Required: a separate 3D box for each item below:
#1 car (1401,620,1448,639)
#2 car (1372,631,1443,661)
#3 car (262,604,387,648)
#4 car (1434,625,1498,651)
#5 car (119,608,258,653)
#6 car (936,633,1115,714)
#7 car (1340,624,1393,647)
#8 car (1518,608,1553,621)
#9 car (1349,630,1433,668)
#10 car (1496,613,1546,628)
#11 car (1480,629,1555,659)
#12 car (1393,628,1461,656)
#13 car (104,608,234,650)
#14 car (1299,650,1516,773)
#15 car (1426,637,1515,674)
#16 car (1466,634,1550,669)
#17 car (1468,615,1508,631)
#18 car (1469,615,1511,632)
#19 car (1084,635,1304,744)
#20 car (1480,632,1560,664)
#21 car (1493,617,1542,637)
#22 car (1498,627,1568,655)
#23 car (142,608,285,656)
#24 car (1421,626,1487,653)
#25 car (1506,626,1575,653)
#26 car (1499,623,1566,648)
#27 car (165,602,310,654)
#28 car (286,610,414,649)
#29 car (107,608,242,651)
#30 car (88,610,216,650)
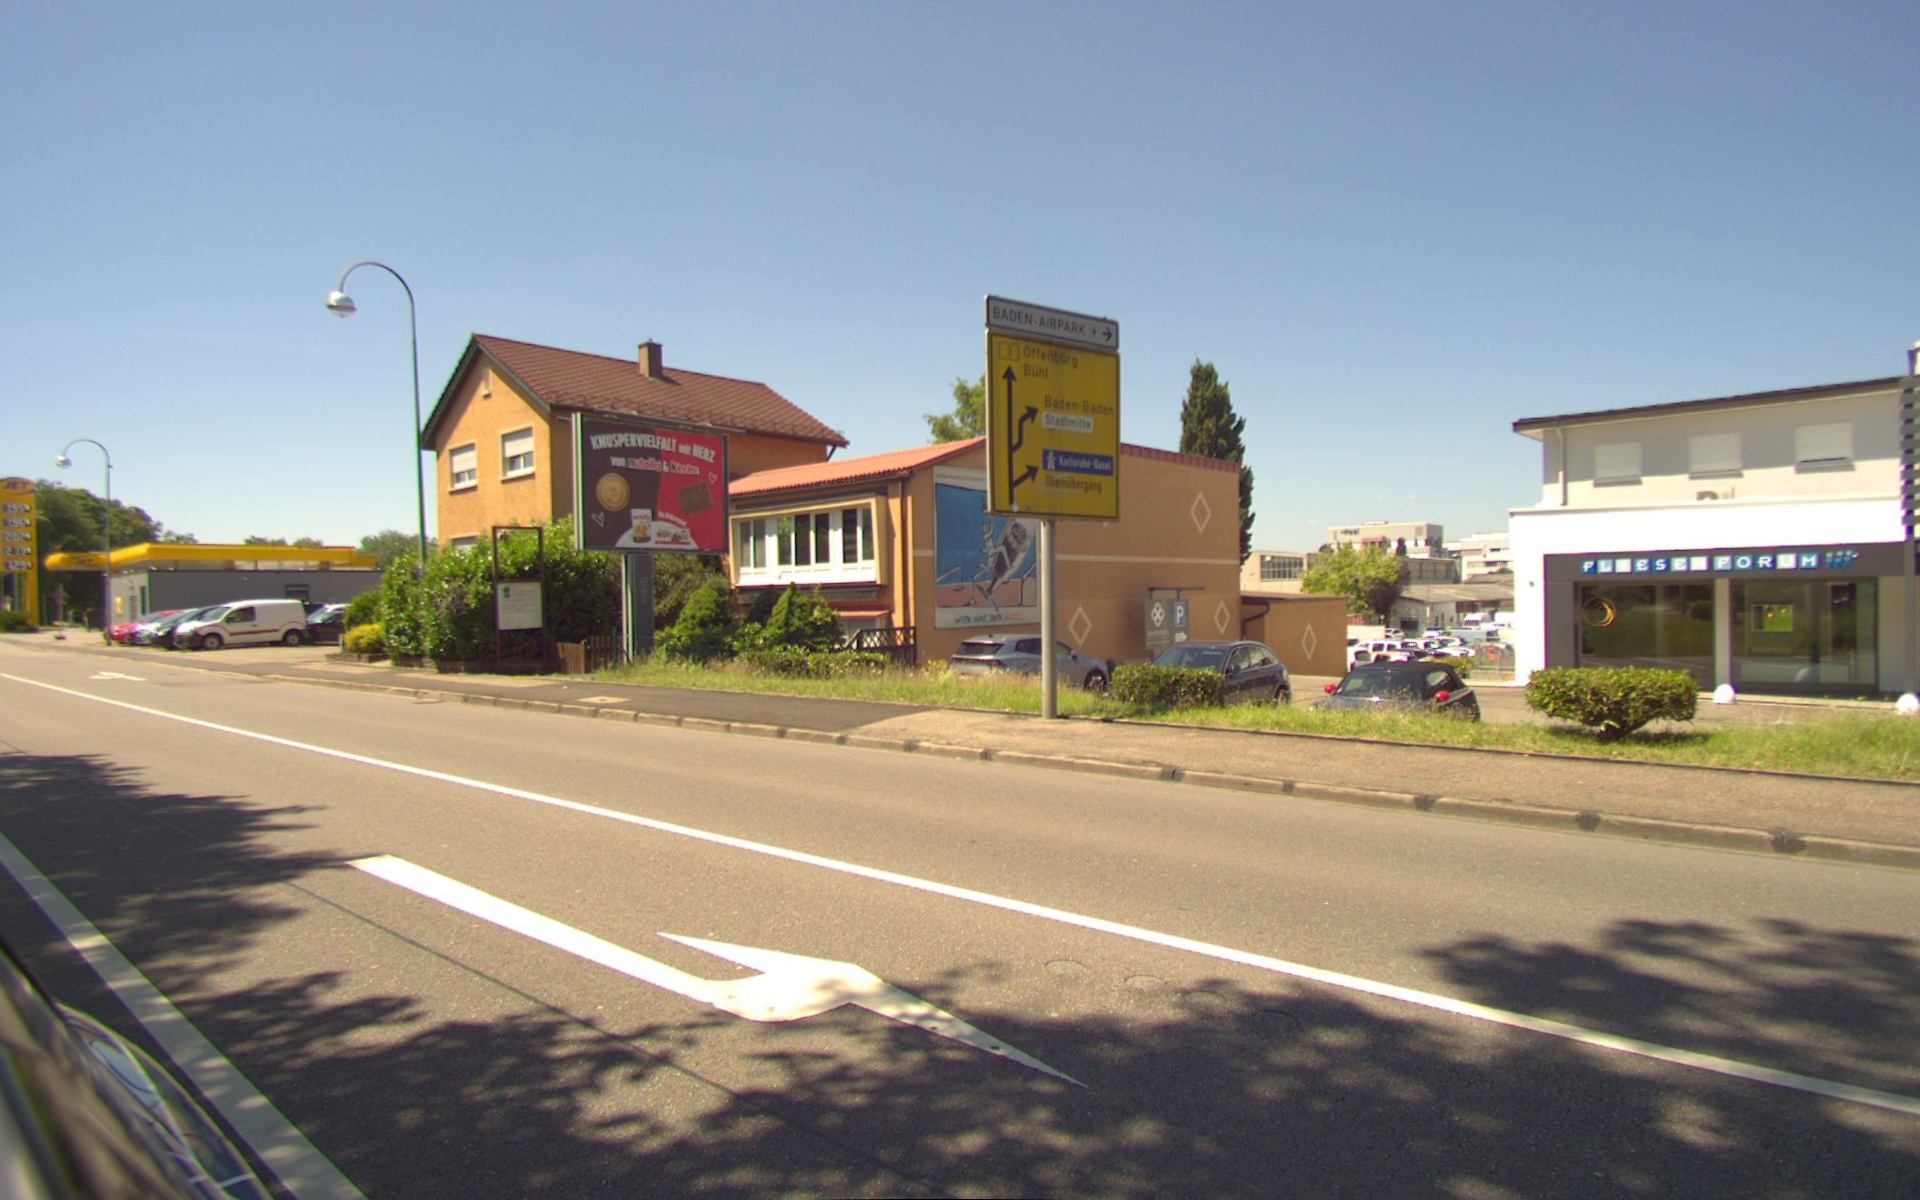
[{"bbox_3d":[44.704,2.809,97.512,3.774,1.768,1.707,-1,0,44],"label":"car"},{"bbox_3d":[28.299,2.887,64.041,3.774,1.768,1.707,-1,-1,44],"label":"car"},{"bbox_3d":[-28.008,1.126,44.730,1.871,1.839,4.351,-1,-1,35],"label":"car"},{"bbox_3d":[36.431,2.729,72.914,3.774,1.768,1.707,-1,-1,44],"label":"car"},{"bbox_3d":[-32.655,1.254,42.966,1.871,1.773,4.351,-1,-1,35],"label":"car"},{"bbox_3d":[1.591,1.642,23.632,4.165,1.621,1.773,0,-1,-42],"label":"car"},{"bbox_3d":[33.977,2.944,84.573,3.774,1.768,1.707,-1,-1,44],"label":"car"},{"bbox_3d":[77.196,1.959,135.651,3.774,1.768,1.707,-1,-1,44],"label":"car"},{"bbox_3d":[24.560,2.752,57.757,4.001,2.029,1.971,-1,-1,44],"label":"car"},{"bbox_3d":[71.796,2.633,129.633,5.303,1.768,2.037,-1,-1,44],"label":"car"},{"bbox_3d":[34.998,2.751,63.573,3.774,1.768,1.707,-1,-1,44],"label":"car"},{"bbox_3d":[31.107,2.782,67.427,3.774,1.768,1.707,-1,-1,44],"label":"car"},{"bbox_3d":[-35.837,1.271,45.952,1.871,1.773,4.351,-1,-1,35],"label":"car"},{"bbox_3d":[7.231,1.656,16.179,4.039,1.544,1.772,0,-1,-44],"label":"car"},{"bbox_3d":[26.502,2.867,52.582,3.774,1.768,1.707,-1,-1,44],"label":"car"},{"bbox_3d":[30.284,2.817,56.011,3.774,1.768,1.707,-1,-1,44],"label":"car"},{"bbox_3d":[61.523,2.720,117.881,3.774,1.768,1.707,-1,0,44],"label":"car"},{"bbox_3d":[58.847,2.625,112.373,3.774,1.768,1.707,-1,0,44],"label":"car"},{"bbox_3d":[4.374,1.514,18.510,4.462,1.654,1.772,0,-1,-44],"label":"car"},{"bbox_3d":[32.843,2.781,59.408,3.774,1.768,1.707,-1,-1,44],"label":"car"},{"bbox_3d":[53.087,2.530,96.352,3.774,1.768,1.707,-1,1,44],"label":"car"},{"bbox_3d":[38.183,2.707,67.521,3.774,1.768,1.707,-1,-1,44],"label":"car"},{"bbox_3d":[-29.356,1.216,39.915,1.871,1.773,4.198,-1,-1,35],"label":"car"},{"bbox_3d":[34.492,2.753,70.720,3.774,1.768,1.707,-1,-1,44],"label":"car"},{"bbox_3d":[39.891,2.686,69.588,3.774,1.768,1.707,-1,-1,44],"label":"car"},{"bbox_3d":[42.754,2.642,75.592,4.055,1.768,1.707,-1,-1,44],"label":"car"},{"bbox_3d":[-27.551,1.019,38.708,1.871,1.883,4.143,-1,-1,35],"label":"car"},{"bbox_3d":[-26.144,1.245,43.509,1.871,1.575,4.351,-1,-1,35],"label":"car"},{"bbox_3d":[-34.393,1.265,44.427,1.871,1.773,4.351,-1,-1,35],"label":"car"},{"bbox_3d":[-37.856,1.354,47.516,1.871,1.773,4.351,-1,-1,35],"label":"car"}]
